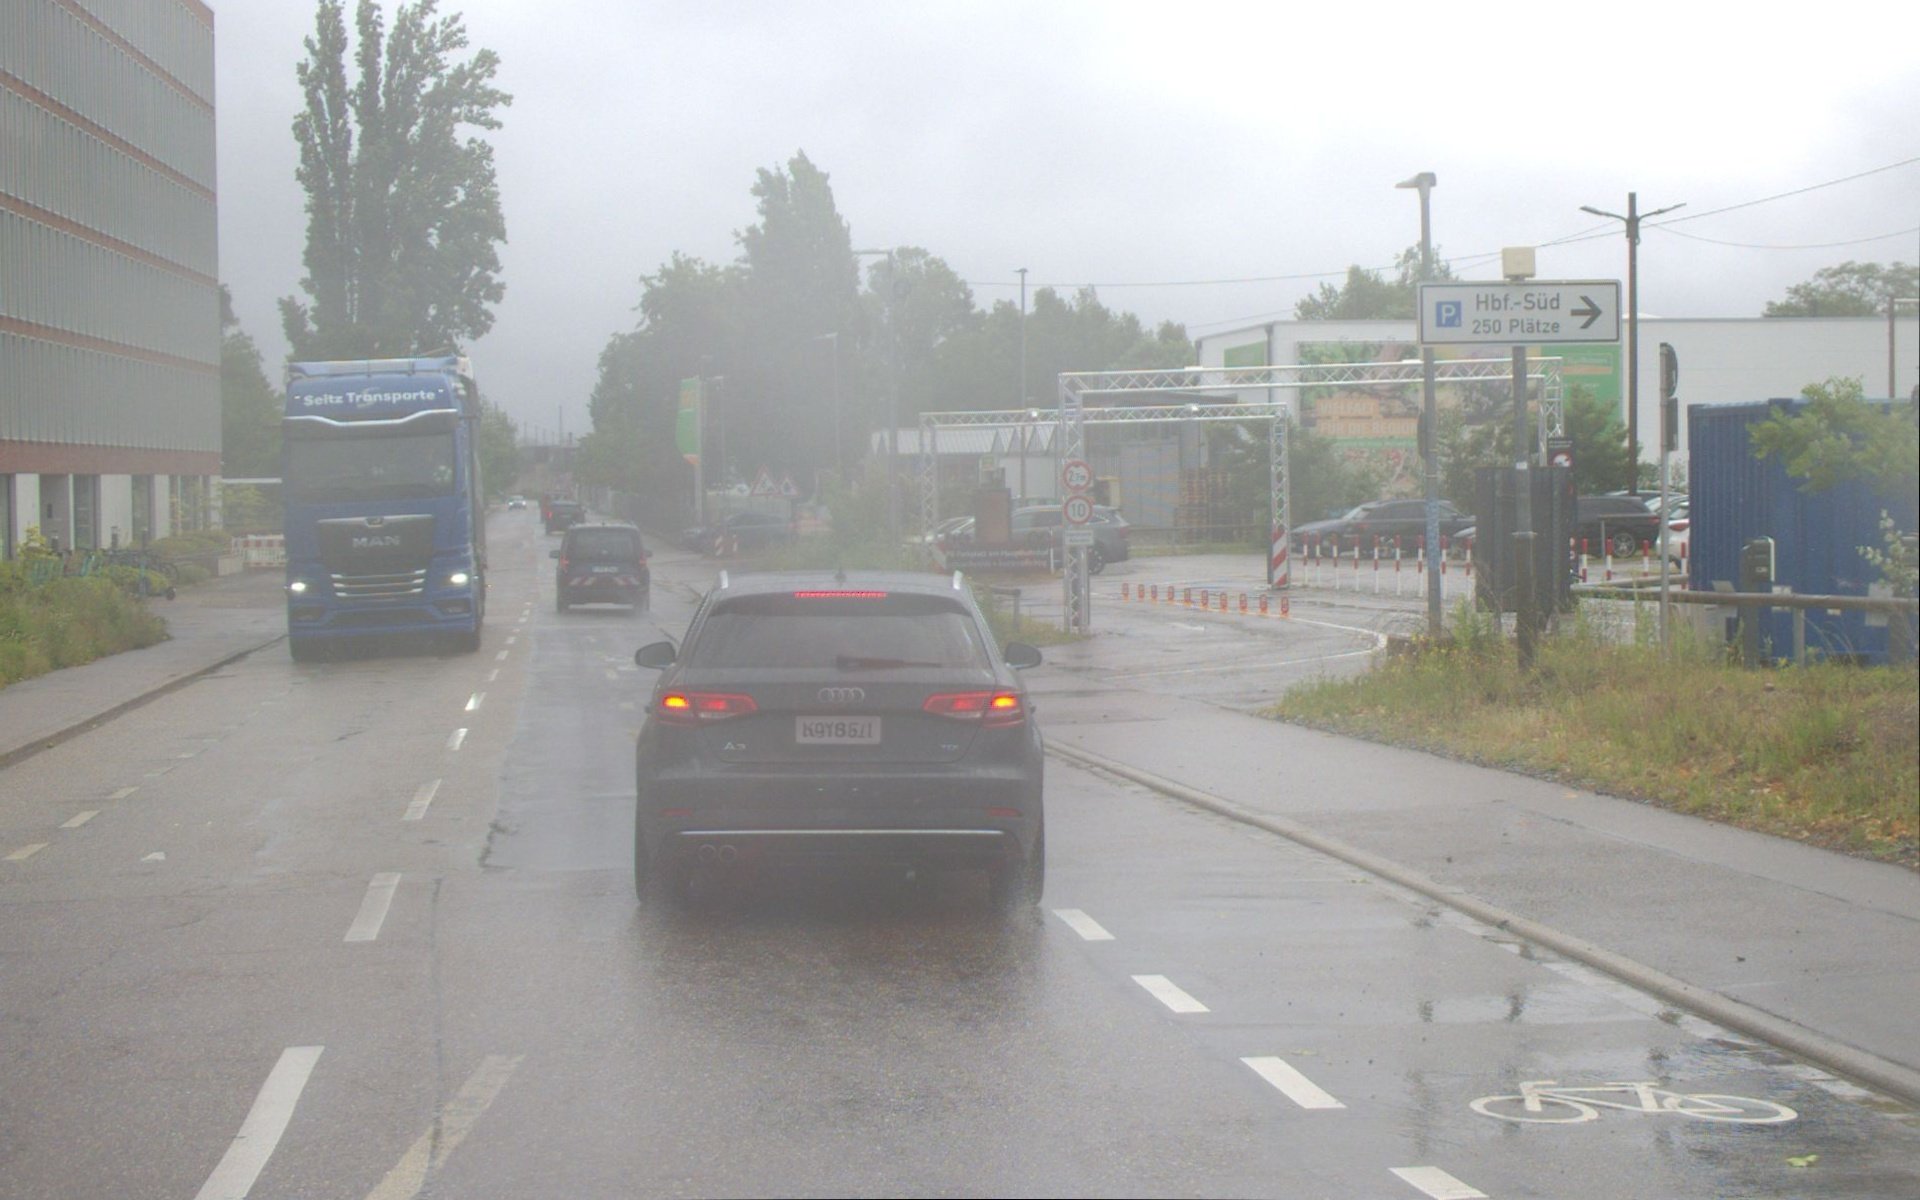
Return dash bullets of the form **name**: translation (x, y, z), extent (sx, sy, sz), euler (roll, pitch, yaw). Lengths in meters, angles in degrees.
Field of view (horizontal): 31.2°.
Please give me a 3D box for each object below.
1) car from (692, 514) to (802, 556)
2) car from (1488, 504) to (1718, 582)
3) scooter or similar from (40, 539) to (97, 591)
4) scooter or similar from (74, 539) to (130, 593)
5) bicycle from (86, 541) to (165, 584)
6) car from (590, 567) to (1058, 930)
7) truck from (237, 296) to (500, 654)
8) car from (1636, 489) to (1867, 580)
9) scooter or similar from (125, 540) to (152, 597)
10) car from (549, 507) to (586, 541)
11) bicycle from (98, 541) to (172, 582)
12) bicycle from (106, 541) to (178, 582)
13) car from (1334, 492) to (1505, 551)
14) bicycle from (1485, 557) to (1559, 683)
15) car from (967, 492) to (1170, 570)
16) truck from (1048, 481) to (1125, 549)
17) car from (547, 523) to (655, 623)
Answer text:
- **car**: translation (-8.109, -2.471, 130.795), extent (4.135, 1.563, 1.765), euler (0, 0, -4)
- **car**: translation (14.309, -1.257, 76.626), extent (4.618, 1.710, 2.020), euler (0, 0, -12)
- **scooter or similar**: translation (-21.499, -0.849, 82.894), extent (1.226, 1.204, 0.417), euler (-1, 2, 1)
- **scooter or similar**: translation (-19.991, -0.789, 80.124), extent (0.467, 1.226, 1.205), euler (0, 2, 36)
- **bicycle**: translation (-21.762, -0.979, 89.678), extent (1.948, 1.073, 0.621), euler (1, 1, -8)
- **car**: translation (-0.593, 0.585, 16.128), extent (1.894, 1.451, 4.227), euler (1, 1, -1)
- **truck**: translation (-8.174, -1.714, 47.997), extent (3.293, 4.638, 6.035), euler (-1, 1, -8)
- **car**: translation (15.017, -1.234, 65.347), extent (3.829, 1.479, 1.928), euler (-3, 0, -4)
- **scooter or similar**: translation (-18.410, -0.716, 77.053), extent (0.466, 1.226, 1.321), euler (-2, 2, -10)
- **car**: translation (-20.190, -3.904, 176.996), extent (1.730, 1.681, 3.898), euler (-1, 1, -4)
- **bicycle**: translation (-22.107, -1.030, 92.124), extent (1.859, 1.073, 0.544), euler (1, 1, -8)
- **bicycle**: translation (-22.123, -1.047, 92.991), extent (1.859, 1.073, 0.544), euler (1, 1, -8)
- **car**: translation (11.731, -2.009, 87.990), extent (3.986, 1.480, 2.000), euler (0, 0, -6)
- **bicycle**: translation (5.163, 0.168, 31.518), extent (0.507, 1.080, 1.702), euler (-1, 1, 14)
- **car**: translation (2.582, -1.647, 82.510), extent (4.680, 1.729, 2.128), euler (-2, 0, -2)
- **truck**: translation (5.129, -3.508, 140.562), extent (2.301, 2.650, 7.418), euler (-2, 2, -4)
- **car**: translation (-7.253, -0.583, 69.142), extent (1.993, 1.904, 4.202), euler (-1, 1, -8)
